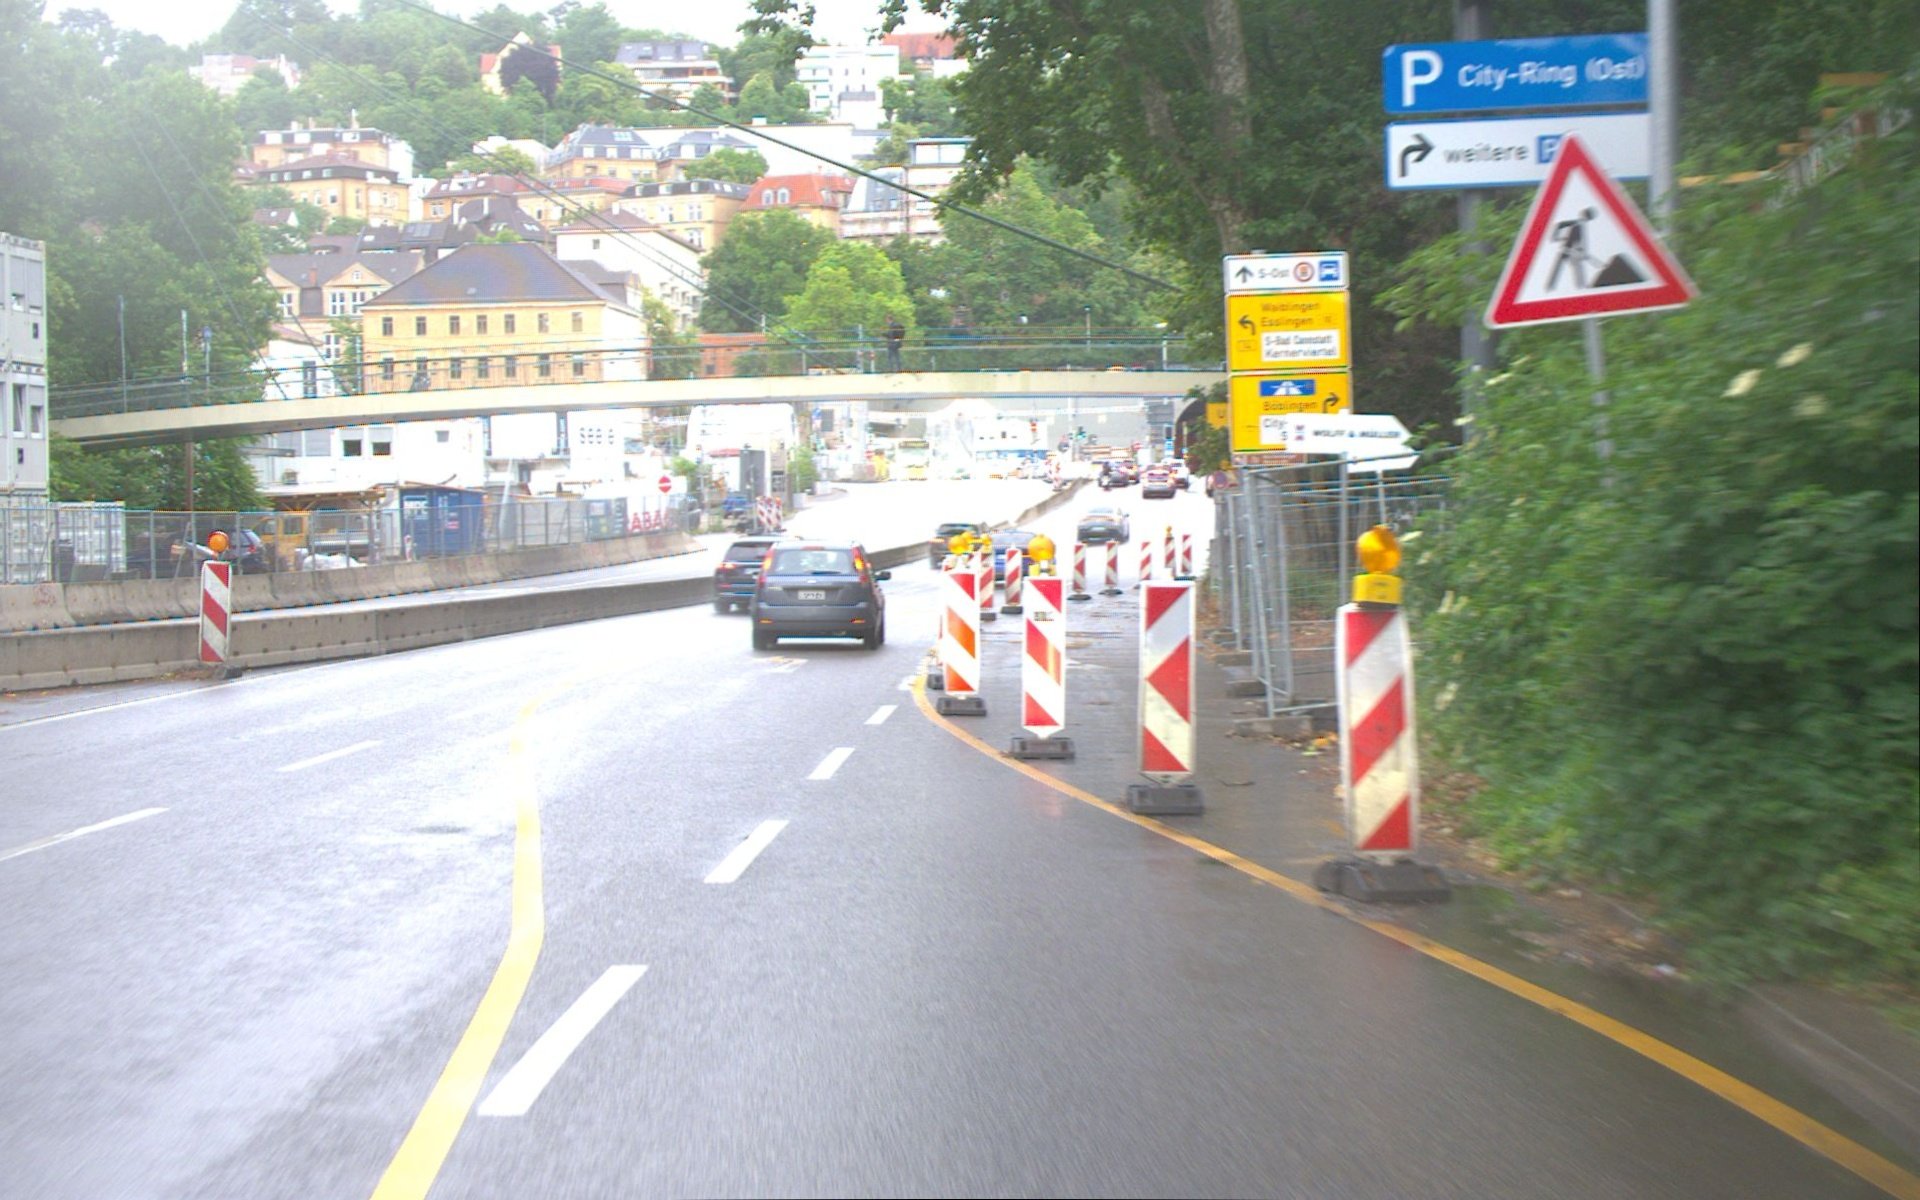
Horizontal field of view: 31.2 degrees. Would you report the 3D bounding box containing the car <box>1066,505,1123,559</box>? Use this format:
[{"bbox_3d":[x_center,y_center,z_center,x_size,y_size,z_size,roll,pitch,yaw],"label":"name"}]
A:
[{"bbox_3d":[5.268,-2.657,134.397,2.052,2.007,4.000,-1,1,4],"label":"car"}]

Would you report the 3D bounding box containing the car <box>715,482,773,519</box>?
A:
[{"bbox_3d":[-10.491,-4.842,167.094,1.994,1.616,3.999,-1,3,9],"label":"car"}]

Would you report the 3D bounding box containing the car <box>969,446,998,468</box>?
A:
[{"bbox_3d":[1.697,-10.299,247.830,1.709,1.484,3.450,-1,1,6],"label":"car"}]

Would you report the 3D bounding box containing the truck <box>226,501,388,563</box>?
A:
[{"bbox_3d":[-23.022,-2.415,121.356,5.247,2.006,2.164,-2,2,1],"label":"truck"}]

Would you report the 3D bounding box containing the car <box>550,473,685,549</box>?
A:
[{"bbox_3d":[-13.491,-3.531,135.773,1.997,2.865,6.042,-1,1,32],"label":"car"}]

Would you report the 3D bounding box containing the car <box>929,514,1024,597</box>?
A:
[{"bbox_3d":[0.454,-1.151,88.580,2.105,2.043,3.999,-1,1,5],"label":"car"}]

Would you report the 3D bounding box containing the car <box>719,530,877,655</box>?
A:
[{"bbox_3d":[-2.200,-0.125,45.721,1.812,1.521,4.001,-2,1,-6],"label":"car"}]

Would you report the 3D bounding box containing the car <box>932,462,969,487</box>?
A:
[{"bbox_3d":[-0.620,-8.480,231.959,2.082,1.625,4.853,-1,2,4],"label":"car"}]

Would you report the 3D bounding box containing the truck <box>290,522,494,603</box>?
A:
[{"bbox_3d":[-18.636,-1.240,113.079,6.276,2.444,2.694,-2,1,-2],"label":"truck"}]

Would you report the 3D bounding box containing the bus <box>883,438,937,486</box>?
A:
[{"bbox_3d":[-3.424,-9.548,237.972,2.806,3.173,8.807,-1,2,5],"label":"bus"}]

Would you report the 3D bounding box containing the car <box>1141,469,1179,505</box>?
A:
[{"bbox_3d":[10.878,-6.158,187.236,1.994,1.863,4.000,-1,1,3],"label":"car"}]

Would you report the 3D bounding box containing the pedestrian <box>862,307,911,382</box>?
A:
[{"bbox_3d":[-2.118,-7.369,99.322,1.148,2.053,1.059,-1,1,13],"label":"pedestrian"}]

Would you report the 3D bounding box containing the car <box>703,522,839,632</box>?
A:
[{"bbox_3d":[-3.587,-0.459,65.947,2.017,2.007,3.999,-1,1,5],"label":"car"}]

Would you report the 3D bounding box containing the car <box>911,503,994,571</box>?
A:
[{"bbox_3d":[-0.207,-1.932,105.197,1.994,2.007,3.999,-1,1,7],"label":"car"}]

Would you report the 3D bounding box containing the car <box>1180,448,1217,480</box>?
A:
[{"bbox_3d":[13.640,-7.781,197.088,1.994,1.693,4.000,-2,1,3],"label":"car"}]
